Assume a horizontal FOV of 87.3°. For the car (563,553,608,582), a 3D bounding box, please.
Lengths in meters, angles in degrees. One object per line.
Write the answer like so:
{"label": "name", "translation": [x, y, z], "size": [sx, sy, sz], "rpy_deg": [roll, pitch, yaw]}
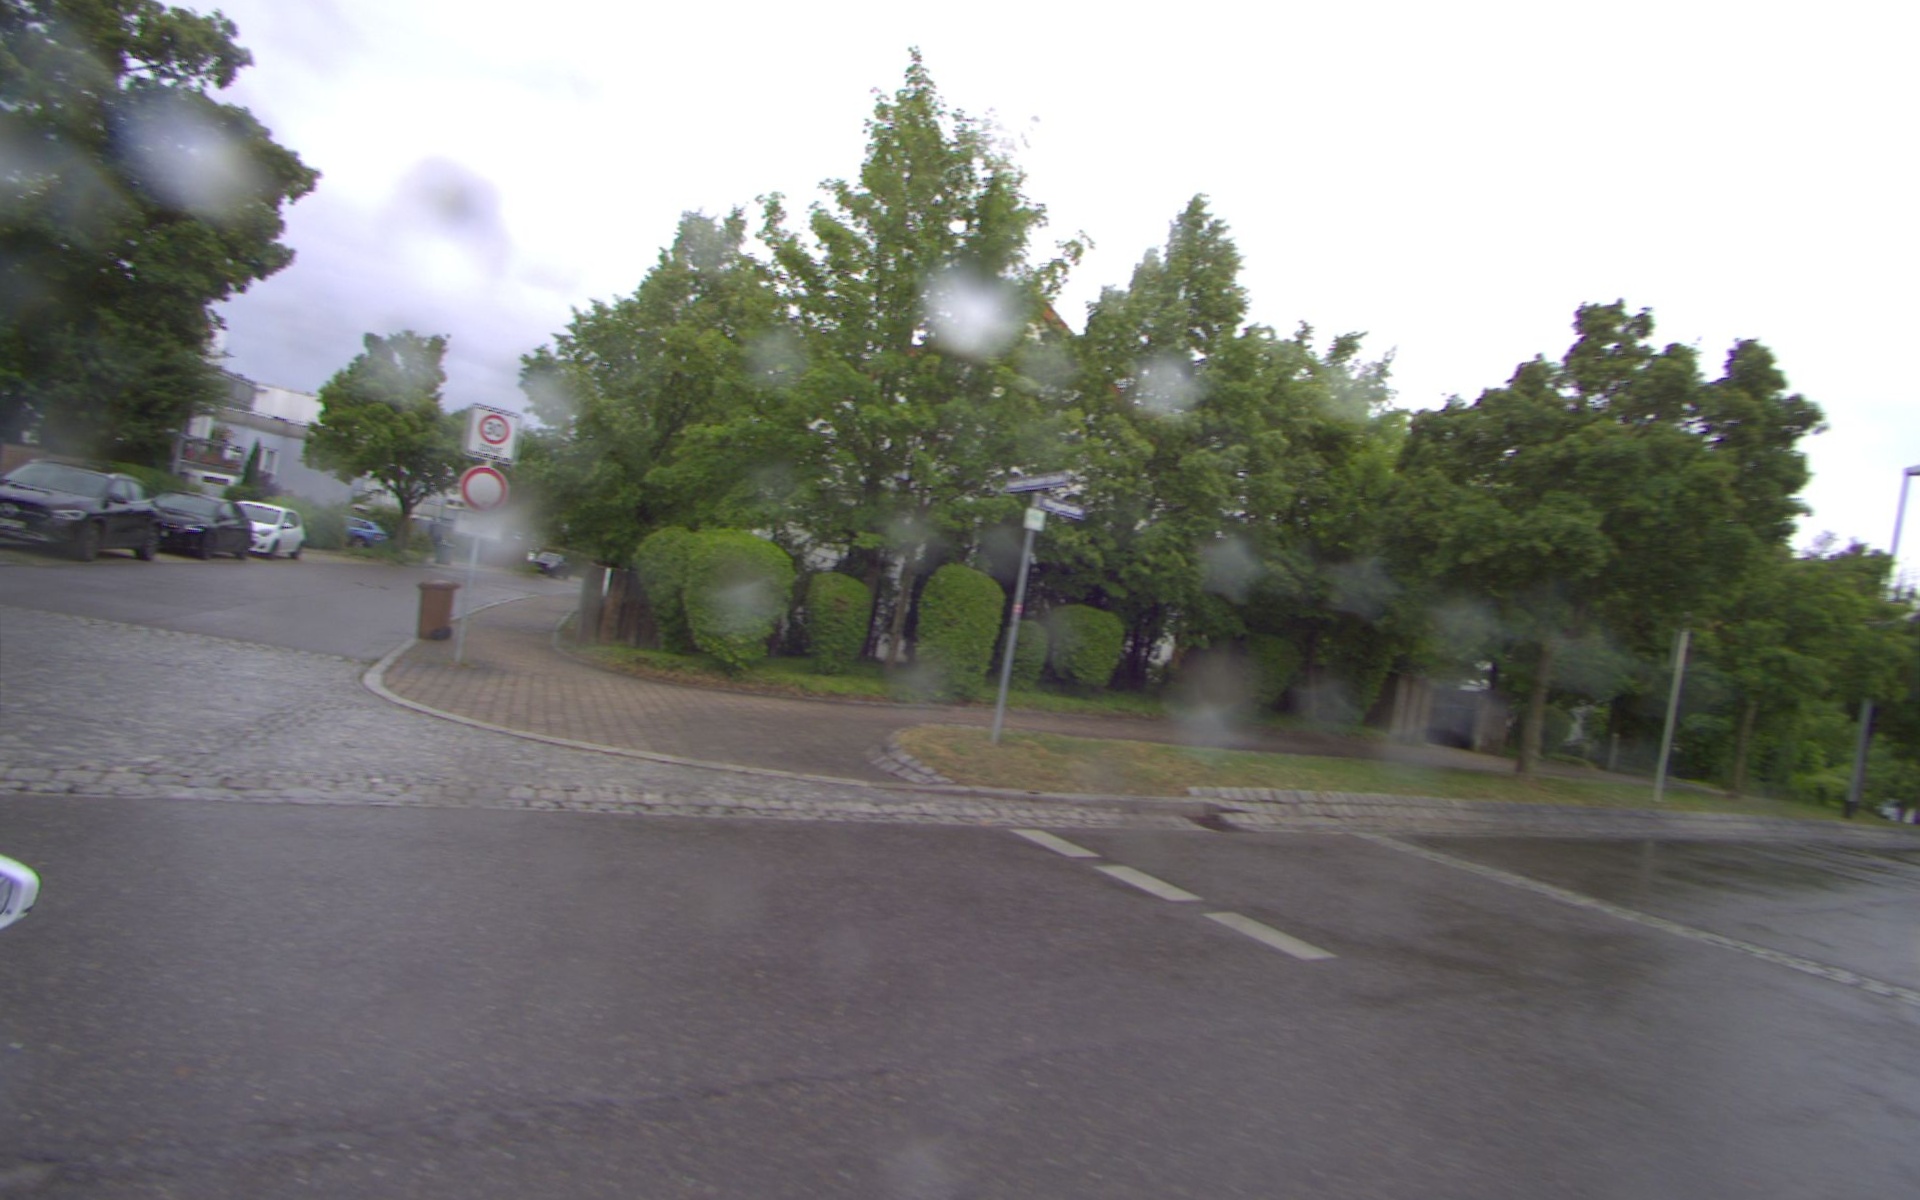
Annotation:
{"label": "car", "translation": [-30.348, -2.611, 81.691], "size": [1.766, 1.831, 3.852], "rpy_deg": [9, -1, 4]}

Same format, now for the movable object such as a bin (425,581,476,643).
{"label": "movable object such as a bin", "translation": [-8.551, 0.191, 16.907], "size": [0.564, 0.942, 0.528], "rpy_deg": [9, -1, -17]}

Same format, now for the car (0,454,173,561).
{"label": "car", "translation": [-16.312, -1.650, 18.391], "size": [1.760, 1.535, 4.116], "rpy_deg": [11, -2, -22]}

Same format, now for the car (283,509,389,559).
{"label": "car", "translation": [-29.833, -3.112, 48.276], "size": [3.955, 1.585, 1.896], "rpy_deg": [11, -2, -26]}

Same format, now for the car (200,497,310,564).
{"label": "car", "translation": [-19.971, -1.923, 28.632], "size": [1.496, 1.492, 3.260], "rpy_deg": [11, -2, -19]}

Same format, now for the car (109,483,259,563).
{"label": "car", "translation": [-18.342, -1.753, 23.970], "size": [1.620, 1.424, 3.588], "rpy_deg": [11, -2, -20]}

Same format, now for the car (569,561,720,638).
{"label": "car", "translation": [-9.161, -0.022, 29.485], "size": [3.939, 1.684, 1.774], "rpy_deg": [8, 0, -15]}

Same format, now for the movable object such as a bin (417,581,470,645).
{"label": "movable object such as a bin", "translation": [-8.393, 0.200, 16.367], "size": [0.564, 0.942, 0.528], "rpy_deg": [9, -1, -17]}
